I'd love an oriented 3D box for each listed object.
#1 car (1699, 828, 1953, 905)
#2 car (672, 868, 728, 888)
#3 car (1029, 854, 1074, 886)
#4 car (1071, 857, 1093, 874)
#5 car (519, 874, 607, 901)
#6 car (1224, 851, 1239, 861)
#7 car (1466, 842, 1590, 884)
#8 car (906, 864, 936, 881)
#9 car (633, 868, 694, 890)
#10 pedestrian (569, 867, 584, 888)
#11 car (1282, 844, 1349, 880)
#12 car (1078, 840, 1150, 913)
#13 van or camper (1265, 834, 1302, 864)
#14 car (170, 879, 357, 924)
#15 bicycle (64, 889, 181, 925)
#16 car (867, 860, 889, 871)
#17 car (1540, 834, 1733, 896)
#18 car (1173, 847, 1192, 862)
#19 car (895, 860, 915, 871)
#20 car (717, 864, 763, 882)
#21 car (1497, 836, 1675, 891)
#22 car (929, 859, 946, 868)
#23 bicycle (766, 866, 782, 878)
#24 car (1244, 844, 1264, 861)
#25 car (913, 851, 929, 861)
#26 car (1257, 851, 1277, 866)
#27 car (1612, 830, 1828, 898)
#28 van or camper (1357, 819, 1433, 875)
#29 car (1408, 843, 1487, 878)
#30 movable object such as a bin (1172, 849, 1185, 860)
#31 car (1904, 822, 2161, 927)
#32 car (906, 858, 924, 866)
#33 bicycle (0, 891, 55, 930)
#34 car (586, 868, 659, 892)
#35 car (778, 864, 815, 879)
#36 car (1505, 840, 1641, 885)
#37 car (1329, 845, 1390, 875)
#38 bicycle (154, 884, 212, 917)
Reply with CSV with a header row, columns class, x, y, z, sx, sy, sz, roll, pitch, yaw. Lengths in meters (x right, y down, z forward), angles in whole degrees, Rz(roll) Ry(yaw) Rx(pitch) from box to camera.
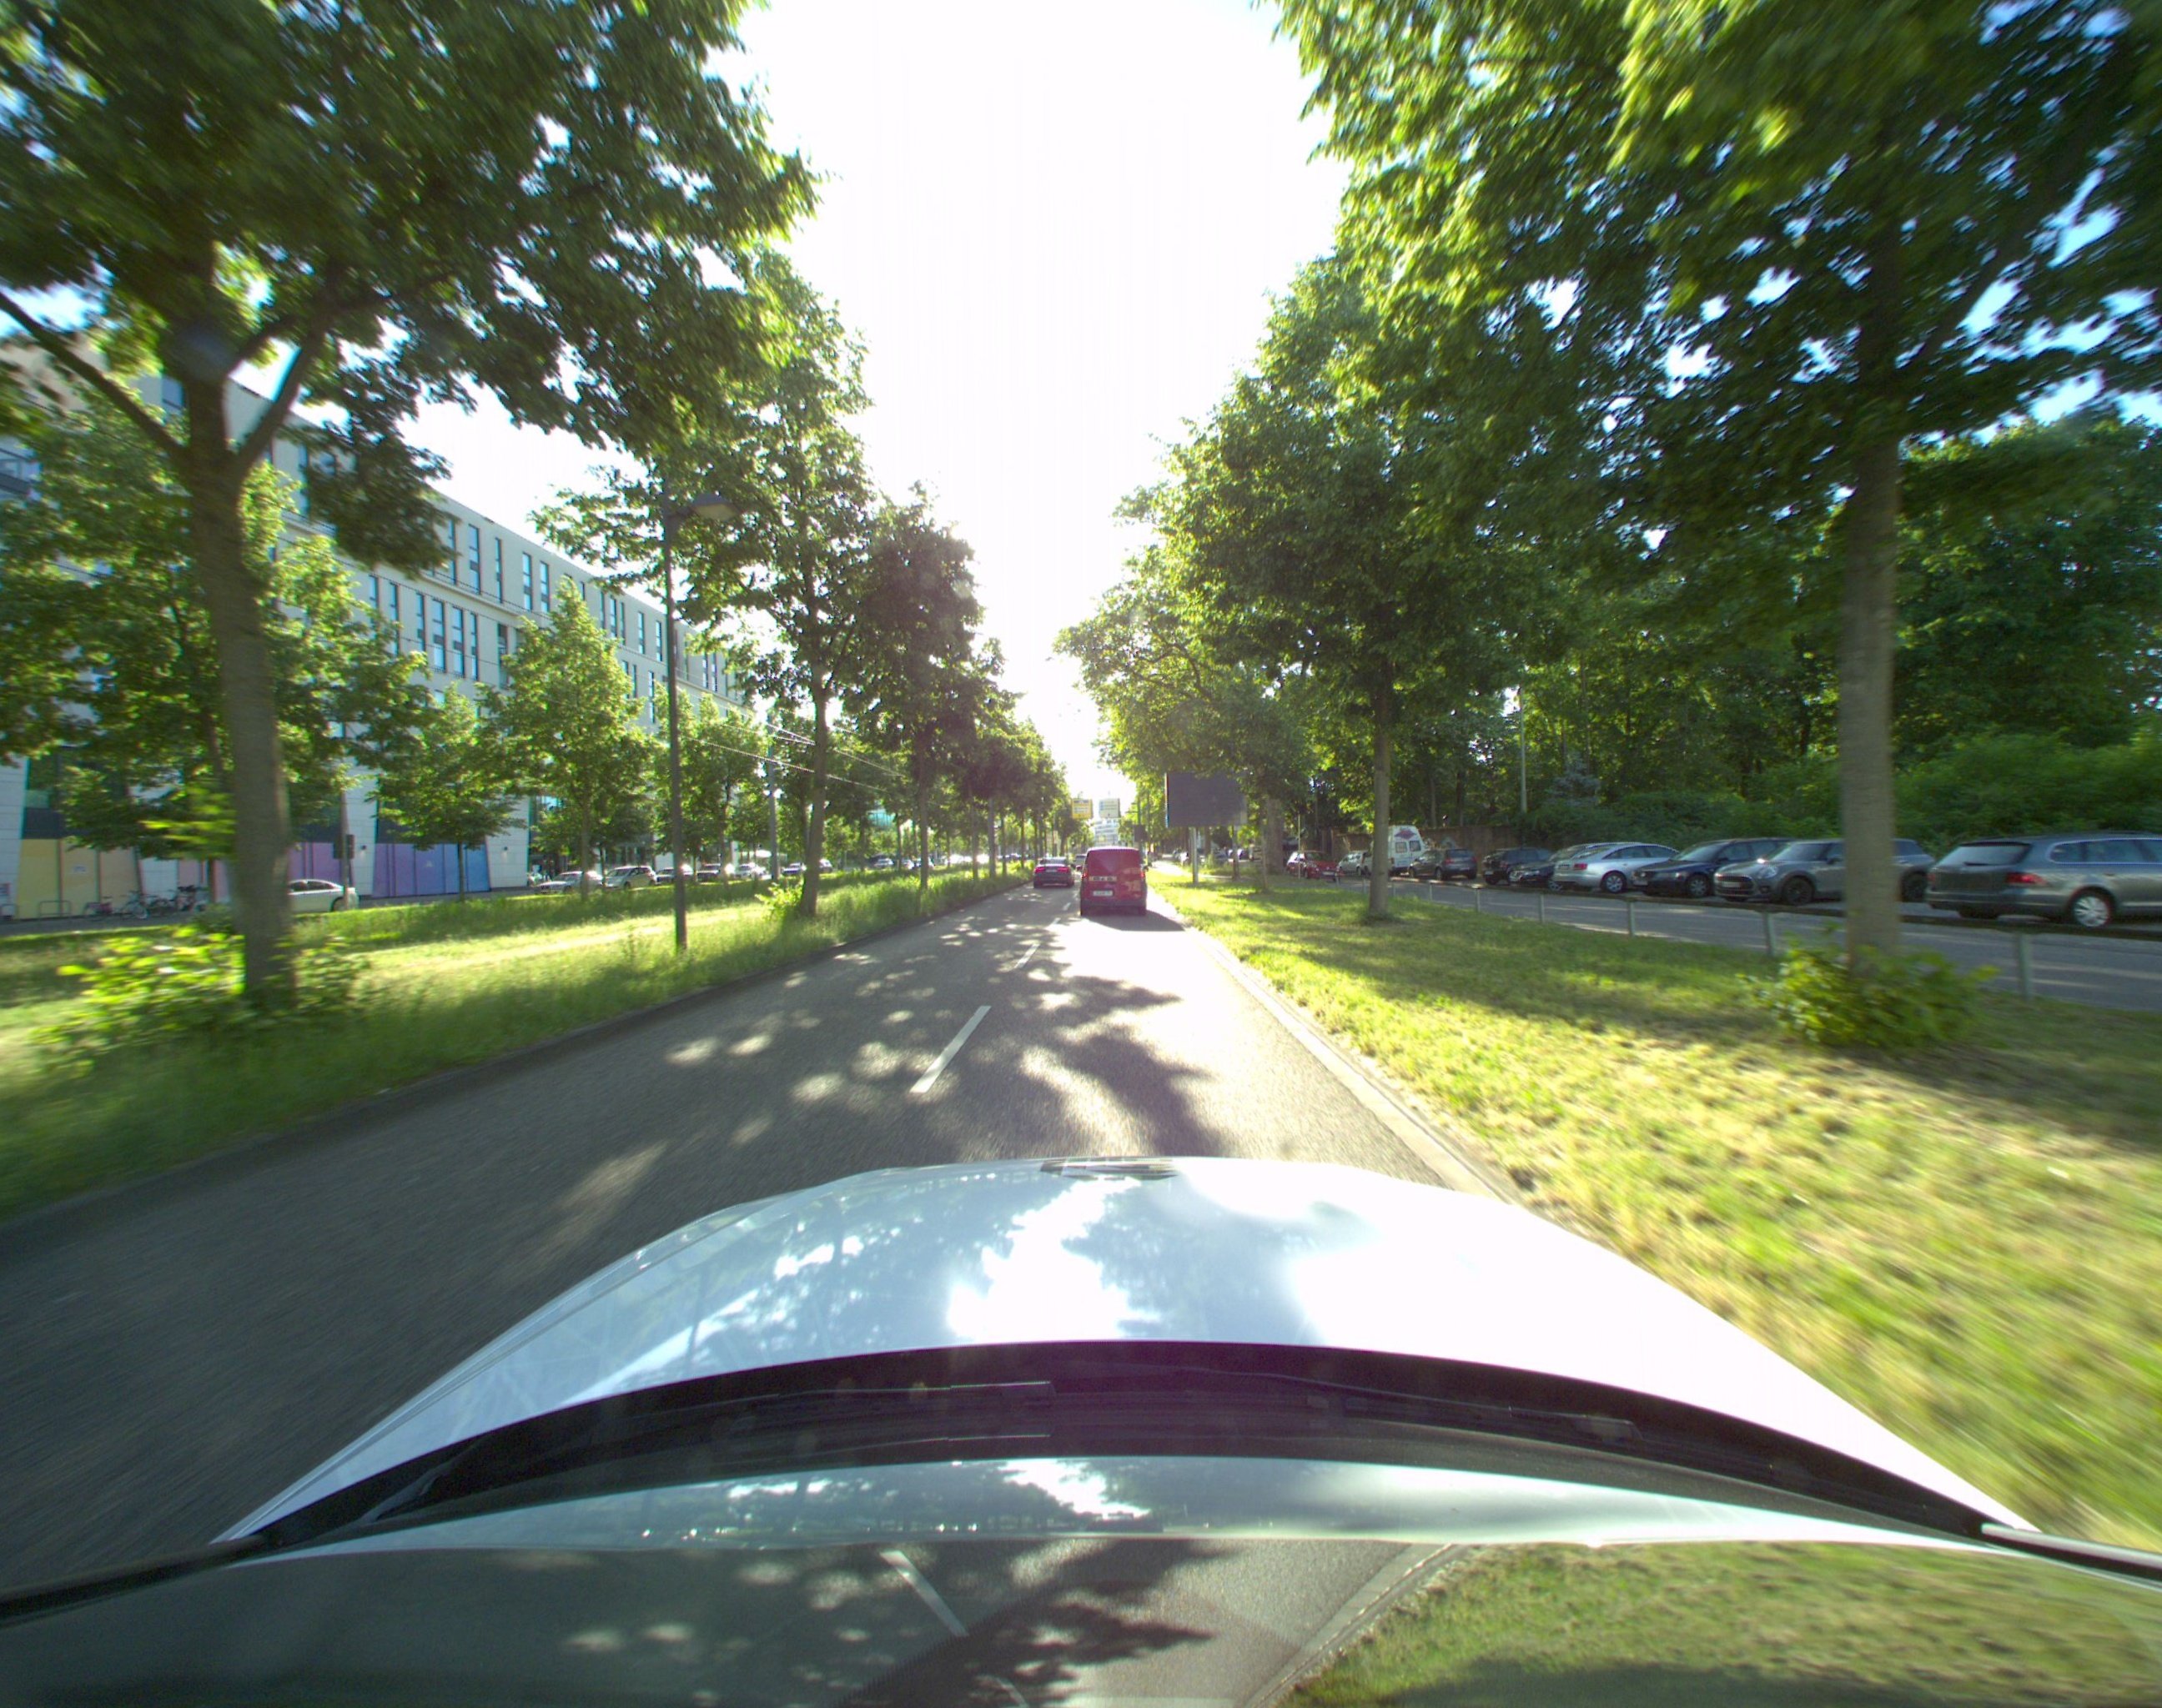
class,x,y,z,sx,sy,sz,roll,pitch,yaw
car,16.844,0.265,18.559,4.179,1.498,1.781,-2,0,-1
car,-29.470,1.816,63.204,1.987,1.441,4.935,0,-1,0
car,-1.345,0.721,38.216,1.785,1.428,4.002,0,-1,2
car,0.135,1.105,78.784,1.986,1.618,4.002,0,-1,2
car,-29.638,1.885,46.830,1.987,1.441,4.778,0,-1,0
car,26.296,0.340,142.239,1.985,1.640,4.003,0,-1,3
car,17.528,0.334,32.030,3.979,1.505,1.763,-1,0,-4
car,-16.923,1.938,86.522,1.986,1.686,5.112,0,-1,2
car,-29.348,1.763,57.394,1.987,1.441,4.455,0,-1,0
pedestrian,-38.432,1.787,62.030,0.633,1.651,0.720,0,-1,-1
car,11.326,0.377,39.572,1.989,1.640,3.996,0,-1,-3
car,0.831,0.593,22.597,1.803,1.838,3.998,0,-1,-1
van or camper,19.678,-0.497,79.557,2.543,2.684,6.577,-3,0,7
car,-30.279,1.696,30.440,1.987,1.441,4.924,0,-1,0
bicycle,-37.229,2.031,31.696,2.777,1.281,0.941,0,-1,-27
car,-27.944,1.540,112.274,1.872,1.435,4.611,0,-1,1
car,16.717,0.315,24.724,4.361,1.411,2.002,-5,0,4
car,13.768,0.141,110.640,2.180,2.014,5.825,0,-1,3
car,-27.380,1.780,126.577,1.871,1.621,4.614,0,-1,3
car,-28.955,1.599,69.285,1.987,1.441,4.455,0,-1,0
car,16.975,0.319,27.563,4.701,1.406,2.001,-5,0,2
car,-26.097,1.734,148.294,1.985,1.608,4.614,0,-1,3
bicycle,-35.129,2.049,93.323,0.582,1.252,1.850,0,-1,23
car,21.752,-0.216,102.514,2.076,2.014,4.952,-1,0,7
car,-32.061,0.438,163.061,1.985,2.014,4.567,1,-1,3
car,20.367,0.488,89.113,1.681,1.472,3.766,-4,-1,7
car,17.011,0.243,21.832,4.317,1.478,1.905,-4,1,-2
van or camper,16.886,-0.327,44.094,1.988,2.731,4.962,-4,-1,-1
car,17.091,0.300,38.198,1.986,1.574,4.001,0,-1,2
movable object such as a bin,16.679,0.099,139.474,2.071,2.014,2.139,0,-1,6
car,16.324,0.288,13.213,4.063,1.468,1.717,-3,-1,2
car,-27.564,1.369,135.364,1.904,1.325,4.614,0,-1,3
bicycle,-37.169,1.941,27.637,0.941,1.281,2.778,0,-1,9
car,-29.249,1.608,52.131,1.986,1.441,4.458,0,-1,2
car,-28.257,1.717,80.975,1.950,1.441,4.268,0,-1,2
car,17.974,0.324,29.857,3.973,1.392,1.620,-3,-1,0
car,16.914,0.372,49.644,1.839,1.618,3.988,-5,0,-9
bicycle,-37.294,1.912,33.839,0.596,1.281,1.608,0,-1,0
